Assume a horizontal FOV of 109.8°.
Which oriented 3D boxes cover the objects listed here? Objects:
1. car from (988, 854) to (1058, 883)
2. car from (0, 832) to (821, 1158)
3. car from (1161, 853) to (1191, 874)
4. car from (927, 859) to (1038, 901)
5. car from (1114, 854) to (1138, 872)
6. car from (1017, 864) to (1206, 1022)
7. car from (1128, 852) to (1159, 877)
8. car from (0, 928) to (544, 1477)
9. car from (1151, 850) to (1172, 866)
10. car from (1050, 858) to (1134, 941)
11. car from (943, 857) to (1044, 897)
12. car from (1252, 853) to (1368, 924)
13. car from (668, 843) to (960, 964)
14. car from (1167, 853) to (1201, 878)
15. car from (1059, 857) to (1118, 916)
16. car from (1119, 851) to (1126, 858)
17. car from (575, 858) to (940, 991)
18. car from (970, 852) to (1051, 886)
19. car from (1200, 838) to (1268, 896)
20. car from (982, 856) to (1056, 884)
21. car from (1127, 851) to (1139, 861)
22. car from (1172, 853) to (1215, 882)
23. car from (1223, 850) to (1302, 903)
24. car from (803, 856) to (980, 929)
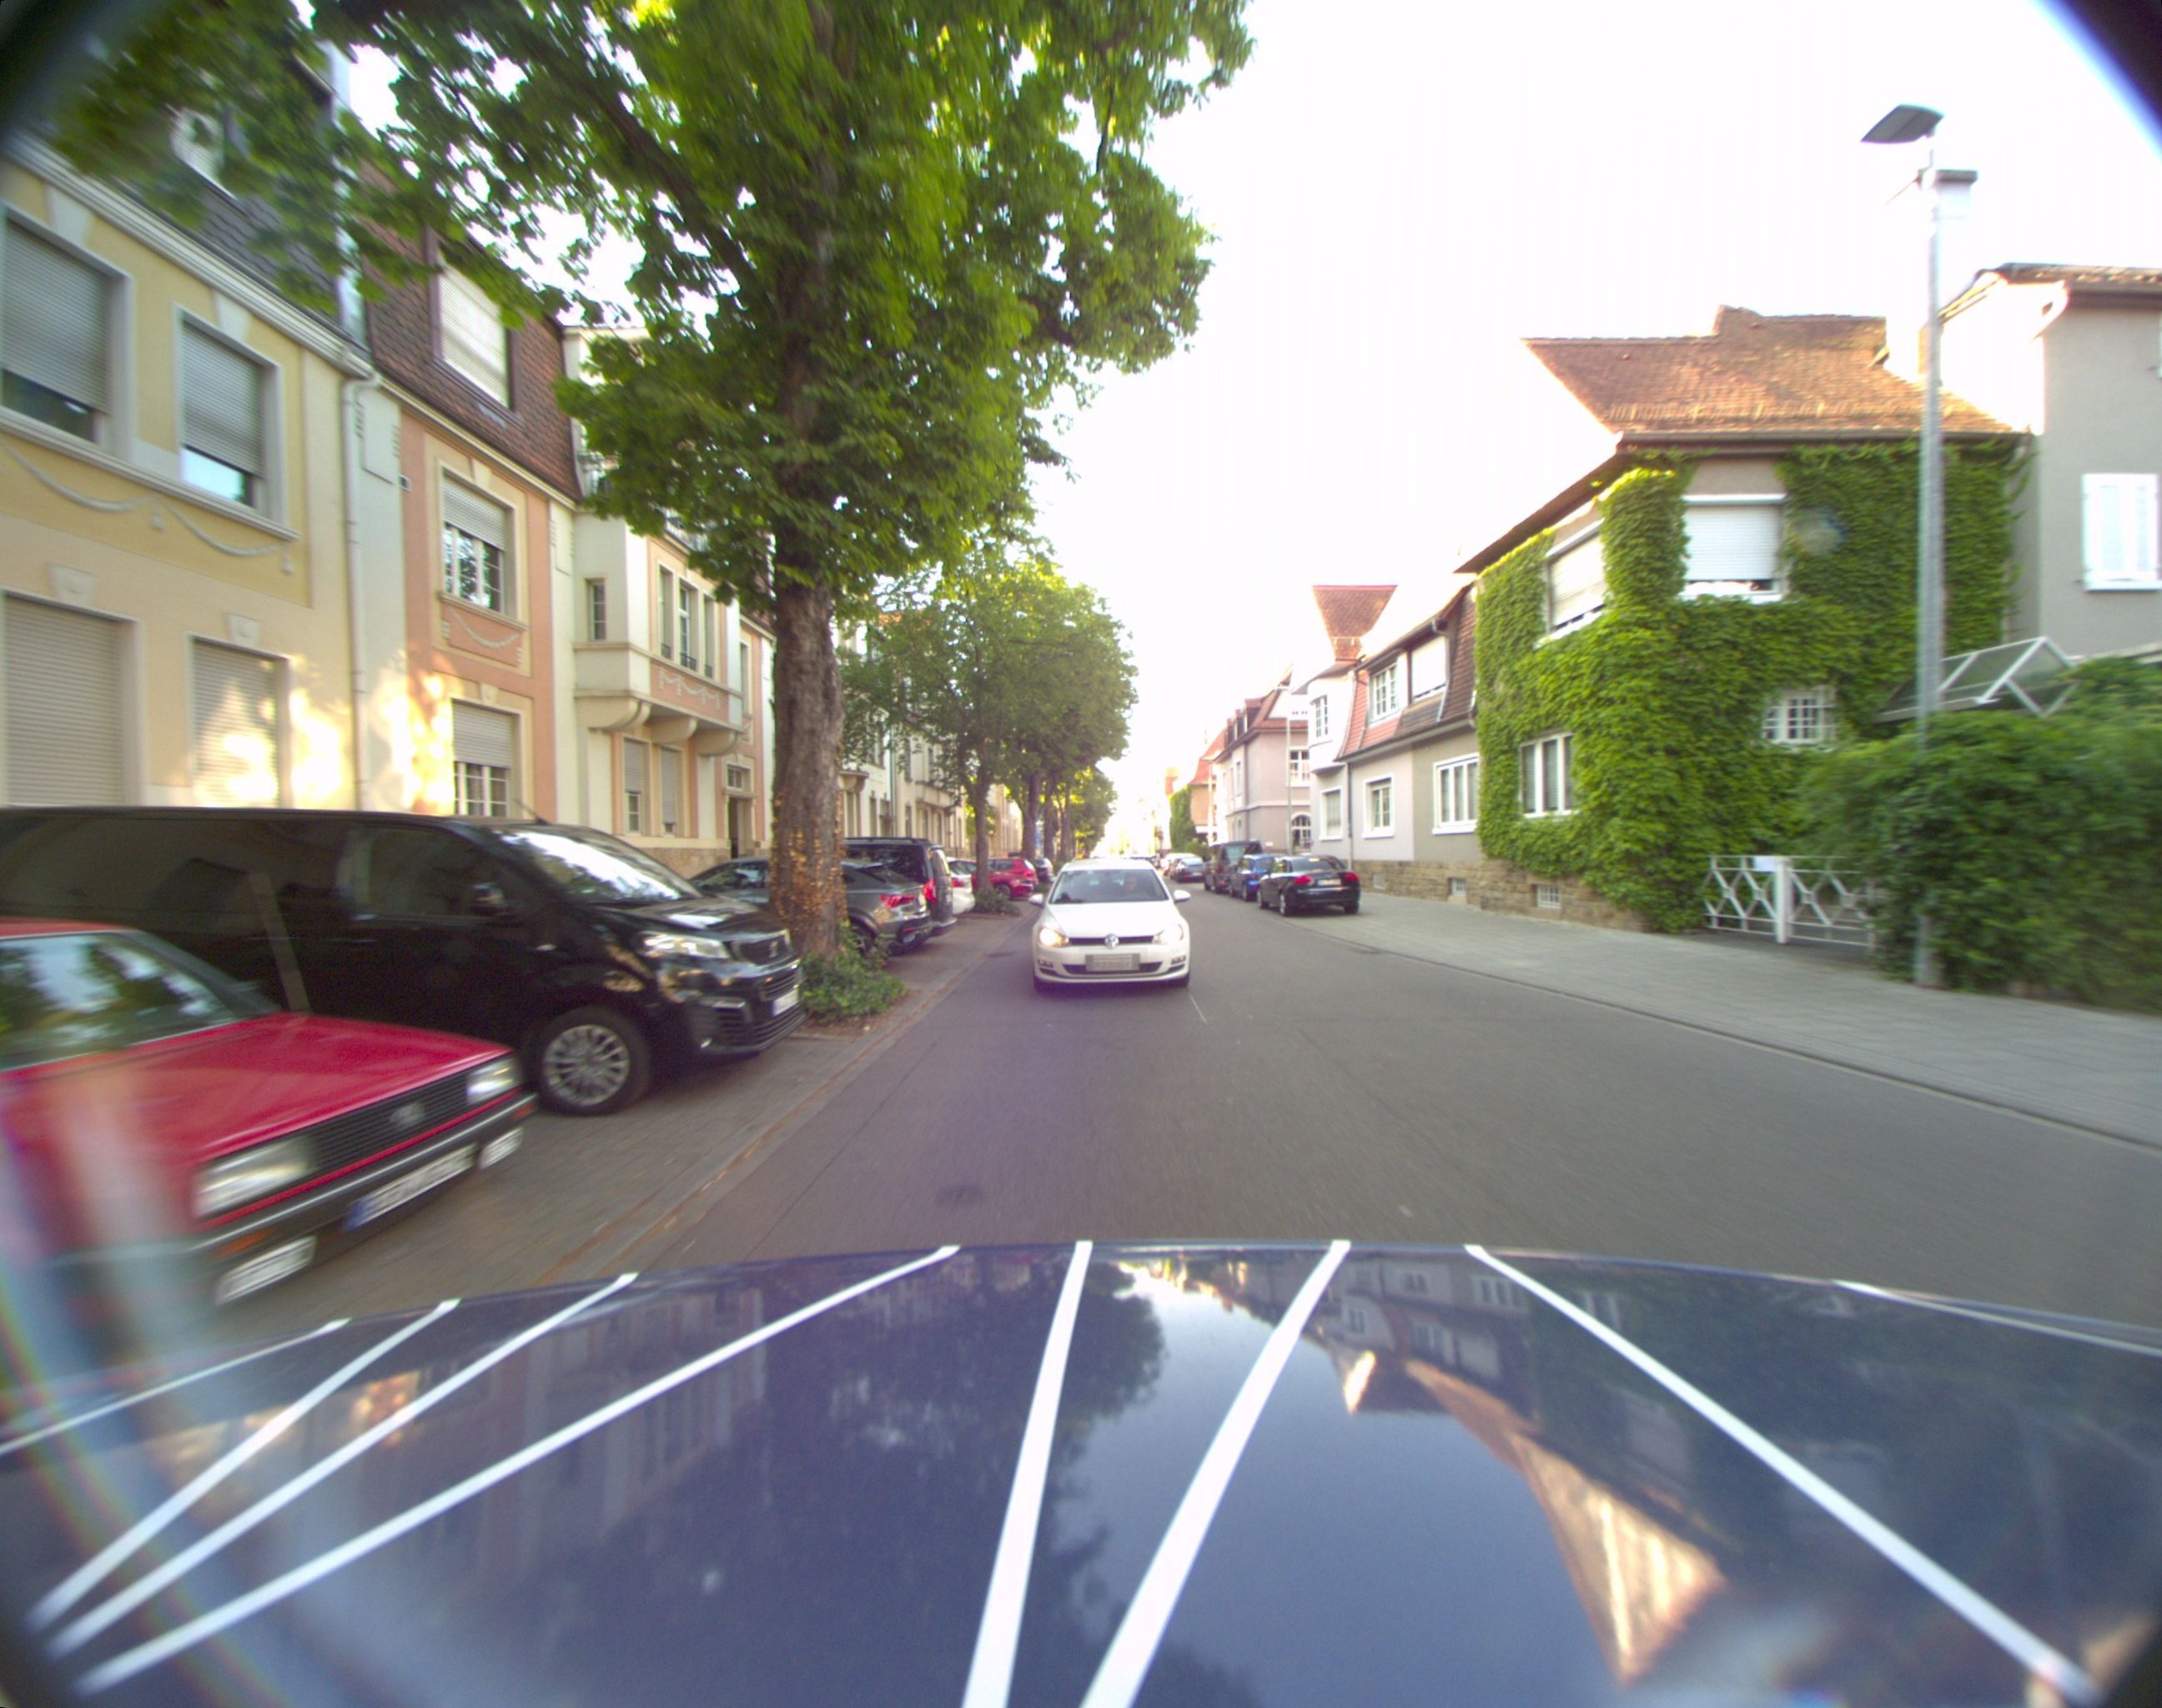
[{"bbox_3d":[-3.138,0.780,41.549,3.621,1.555,1.538,0,1,2],"label":"car"},{"bbox_3d":[-4.520,0.784,5.214,4.834,1.814,1.880,1,1,-2],"label":"car"},{"bbox_3d":[6.852,0.638,55.052,1.719,1.363,3.946,-3,0,1],"label":"car"},{"bbox_3d":[-3.370,0.886,26.509,3.621,1.395,1.538,1,1,2],"label":"car"},{"bbox_3d":[3.683,0.724,62.797,1.785,1.453,4.300,1,0,1],"label":"car"},{"bbox_3d":[0.309,0.908,9.506,1.799,1.420,4.024,-2,0,0],"label":"car"},{"bbox_3d":[3.961,0.626,48.451,1.620,1.493,3.591,1,0,-1],"label":"car"},{"bbox_3d":[-4.526,1.024,2.827,3.921,1.313,1.558,1,1,-1],"label":"car"},{"bbox_3d":[7.694,0.358,72.721,1.643,1.461,3.946,-3,0,1],"label":"car"},{"bbox_3d":[0.292,0.890,16.650,1.599,1.546,4.001,1,0,2],"label":"car"},{"bbox_3d":[-3.298,0.859,29.063,3.621,1.456,1.538,1,1,2],"label":"car"},{"bbox_3d":[5.532,0.764,18.862,1.751,1.420,4.024,-4,1,3],"label":"car"},{"bbox_3d":[-4.156,0.749,12.329,4.172,1.816,1.594,1,1,-2],"label":"car"},{"bbox_3d":[6.246,0.661,46.539,1.541,1.363,3.946,-3,0,1],"label":"car"},{"bbox_3d":[0.274,0.871,22.173,1.560,1.546,3.739,1,0,2],"label":"car"},{"bbox_3d":[9.669,0.057,177.808,1.643,1.461,3.690,-3,0,2],"label":"car"},{"bbox_3d":[-4.104,0.882,10.147,4.172,1.583,1.594,1,1,-2],"label":"car"},{"bbox_3d":[-3.258,0.695,35.669,3.621,1.555,1.538,0,1,2],"label":"car"},{"bbox_3d":[5.882,0.441,29.657,1.719,1.961,4.311,-4,1,1],"label":"car"},{"bbox_3d":[-3.147,0.805,38.810,3.621,1.395,1.538,0,1,2],"label":"car"},{"bbox_3d":[8.123,0.342,118.978,1.643,1.461,3.690,-3,0,2],"label":"car"},{"bbox_3d":[6.039,0.684,41.256,1.719,1.363,4.334,-3,0,1],"label":"car"},{"bbox_3d":[5.839,0.683,24.940,1.610,1.455,4.024,-4,1,1],"label":"car"},{"bbox_3d":[-4.159,0.839,17.089,3.623,1.541,1.537,1,1,-2],"label":"car"}]
